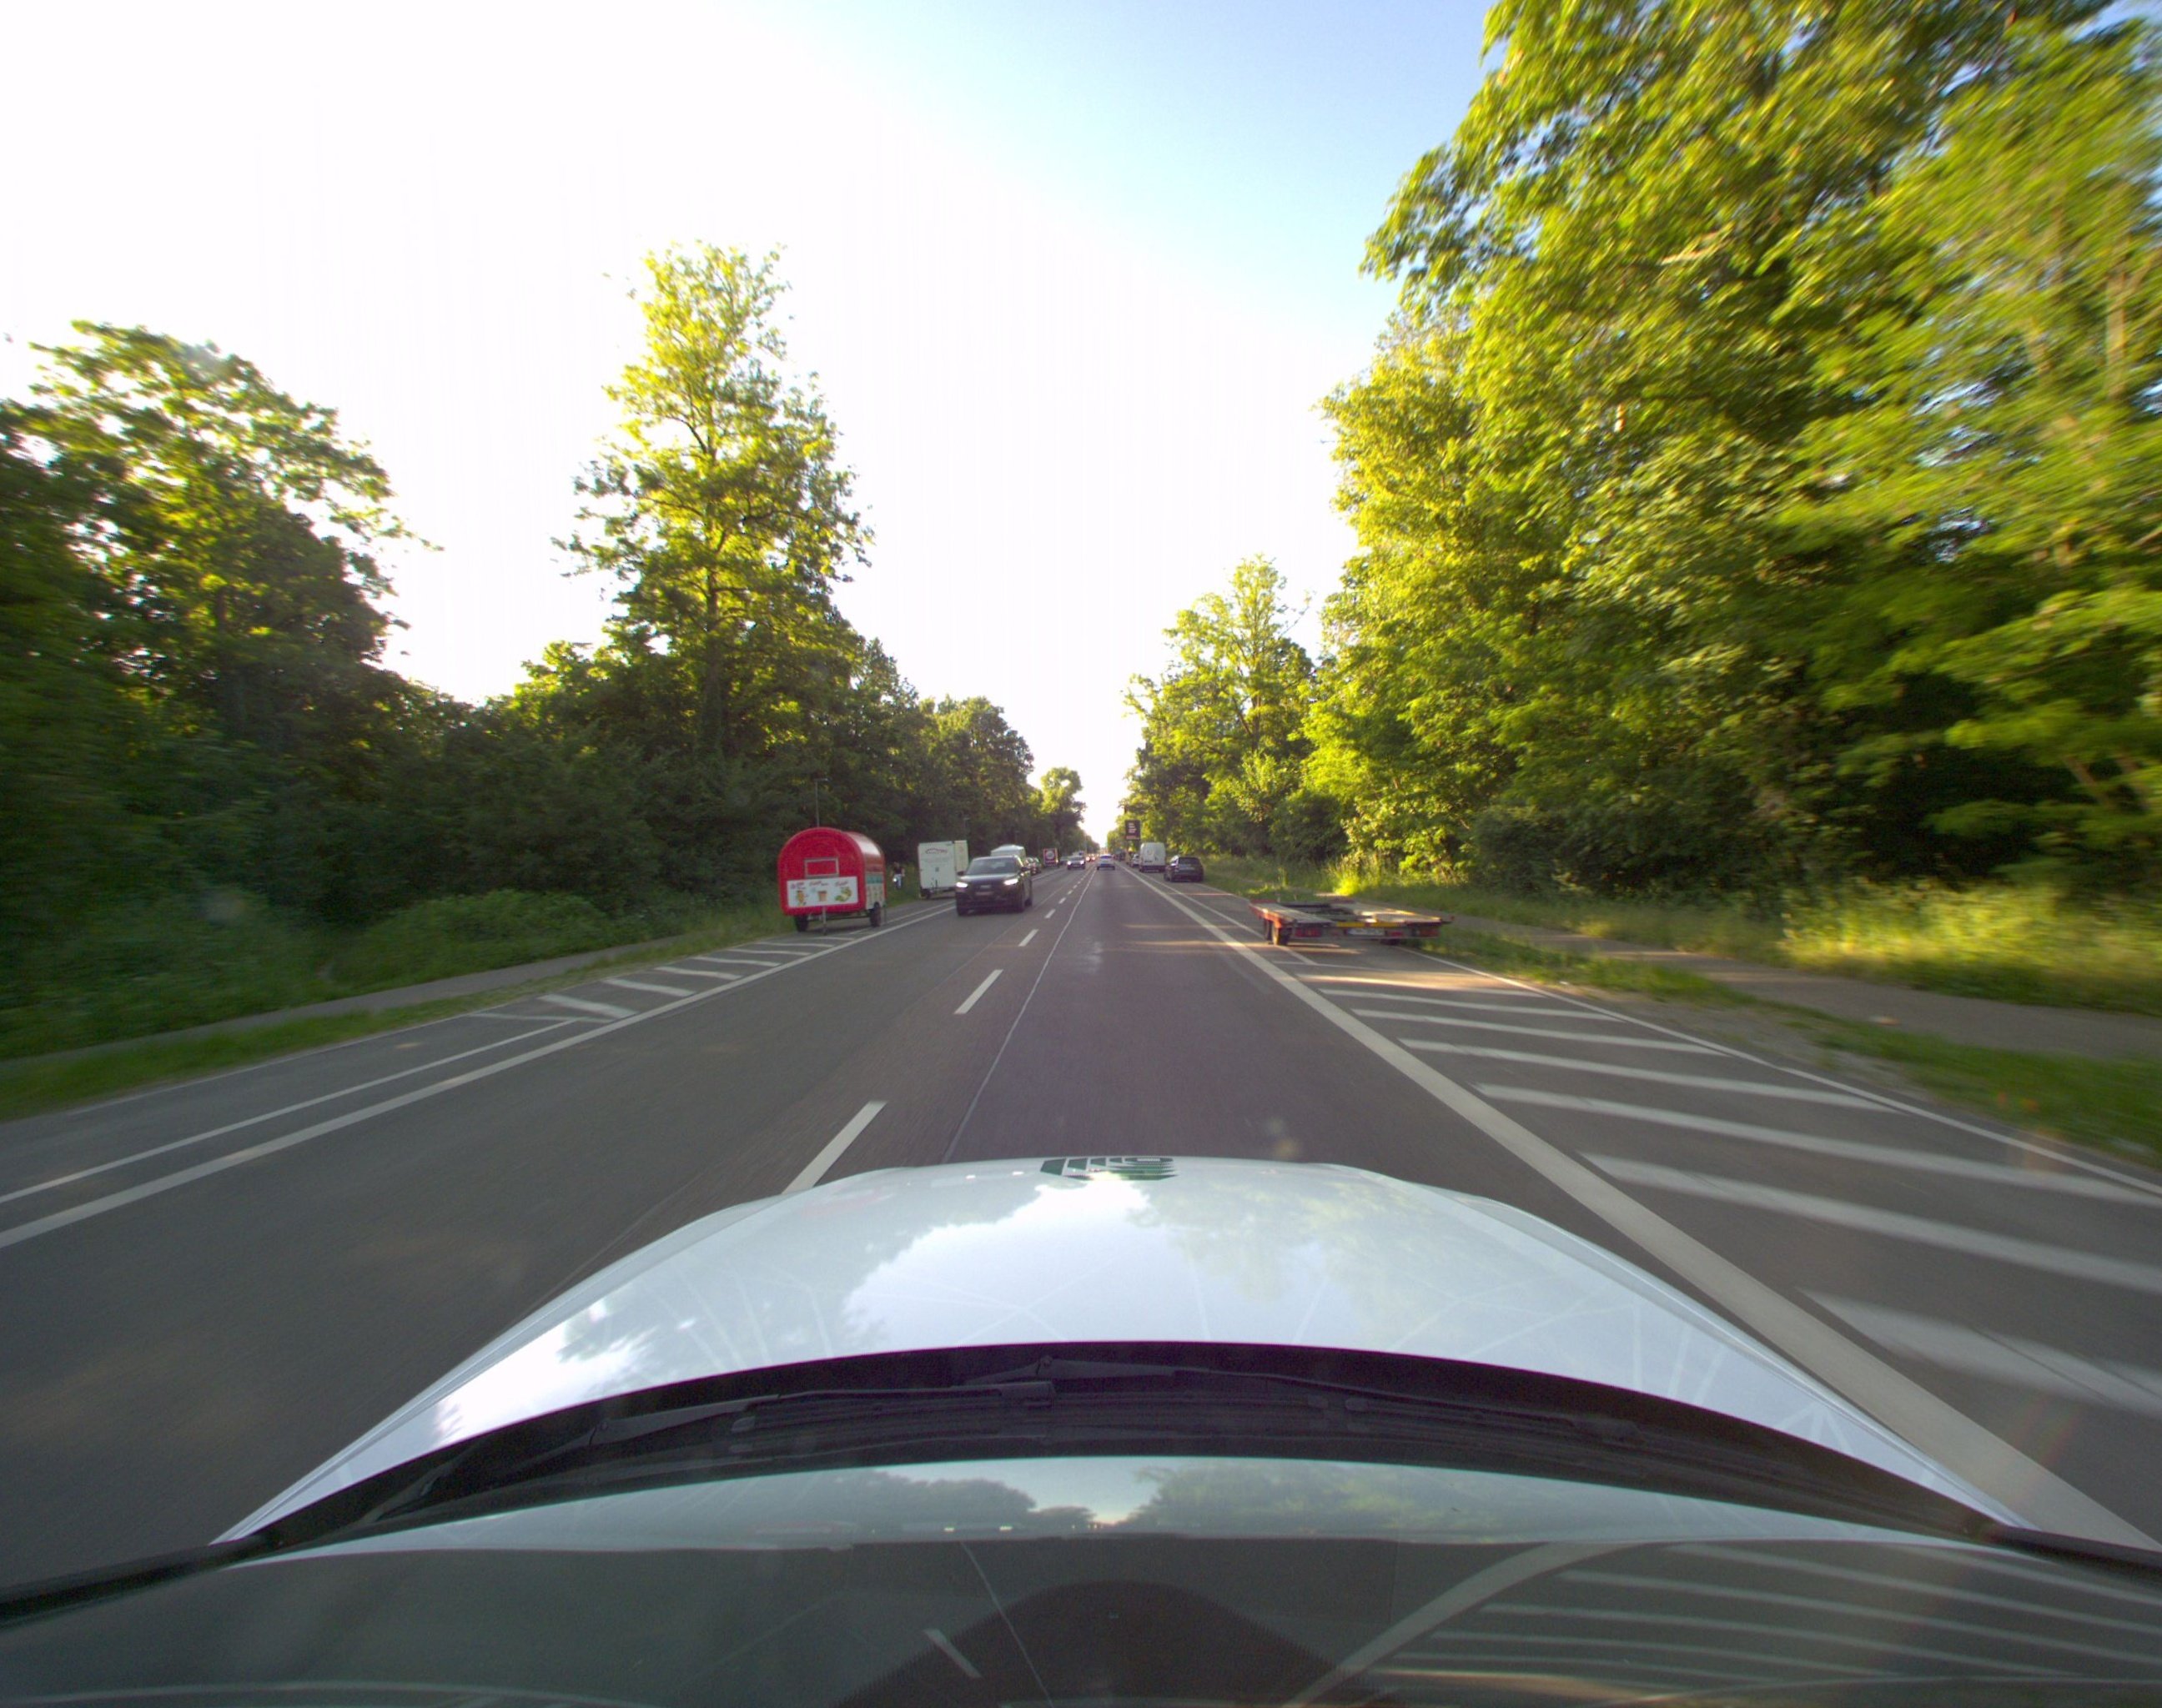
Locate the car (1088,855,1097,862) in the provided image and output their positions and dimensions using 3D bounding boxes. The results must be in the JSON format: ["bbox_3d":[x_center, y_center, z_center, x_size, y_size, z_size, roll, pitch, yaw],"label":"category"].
[{"bbox_3d":[2.451,0.879,173.062,1.598,1.420,3.519,-3,0,1],"label":"car"}]

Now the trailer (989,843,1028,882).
[{"bbox_3d":[-5.088,0.590,57.617,2.340,2.529,4.341,-2,0,-2],"label":"trailer"}]

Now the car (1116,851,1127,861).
[{"bbox_3d":[8.231,0.385,166.611,2.105,2.013,5.042,0,0,2],"label":"car"}]

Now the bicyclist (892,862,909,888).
[{"bbox_3d":[-9.612,1.105,43.368,0.668,1.364,0.905,-1,-1,2],"label":"bicyclist"}]

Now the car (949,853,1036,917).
[{"bbox_3d":[-2.455,0.834,23.652,1.811,1.587,4.461,-3,-1,2],"label":"car"}]

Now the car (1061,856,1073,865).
[{"bbox_3d":[-2.473,1.206,144.681,1.848,1.464,4.786,-2,0,2],"label":"car"}]

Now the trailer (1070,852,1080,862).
[{"bbox_3d":[-1.577,0.745,211.354,2.066,2.293,3.489,-3,0,3],"label":"trailer"}]

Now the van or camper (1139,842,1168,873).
[{"bbox_3d":[6.018,0.281,68.575,2.117,2.482,6.309,-2,0,3],"label":"van or camper"}]

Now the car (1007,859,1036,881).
[{"bbox_3d":[-4.633,1.225,63.777,1.665,1.495,4.196,-5,-1,2],"label":"car"}]

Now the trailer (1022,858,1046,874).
[{"bbox_3d":[-4.434,1.125,77.115,1.834,1.466,4.468,-2,0,1],"label":"trailer"}]

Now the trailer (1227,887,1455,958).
[{"bbox_3d":[4.231,1.094,14.526,2.423,0.798,5.661,-1,0,2],"label":"trailer"}]

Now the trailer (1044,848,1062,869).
[{"bbox_3d":[-3.624,0.577,106.444,1.986,2.621,4.087,-2,0,2],"label":"trailer"}]

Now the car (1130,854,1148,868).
[{"bbox_3d":[6.325,0.726,89.220,1.729,1.488,4.401,0,0,0],"label":"car"}]

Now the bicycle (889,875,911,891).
[{"bbox_3d":[-9.611,1.548,43.300,0.668,0.801,2.100,-1,-1,2],"label":"bicycle"}]

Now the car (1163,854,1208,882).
[{"bbox_3d":[5.716,0.723,45.080,1.829,1.421,4.594,1,0,-1],"label":"car"}]

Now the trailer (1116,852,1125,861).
[{"bbox_3d":[10.258,0.629,210.795,1.600,2.112,2.409,-1,0,22],"label":"trailer"}]

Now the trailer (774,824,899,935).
[{"bbox_3d":[-6.055,0.588,20.603,2.061,2.480,3.558,-2,0,-2],"label":"trailer"}]

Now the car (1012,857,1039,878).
[{"bbox_3d":[-4.699,1.121,69.804,1.665,1.574,5.129,-5,-1,2],"label":"car"}]

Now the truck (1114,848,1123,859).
[{"bbox_3d":[10.981,-0.165,240.900,2.495,3.366,7.111,-1,-1,2],"label":"truck"}]

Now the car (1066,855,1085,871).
[{"bbox_3d":[-0.548,0.971,87.338,1.813,1.532,4.532,-3,-1,2],"label":"car"}]

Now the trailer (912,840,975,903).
[{"bbox_3d":[-5.827,0.701,34.838,2.061,2.480,3.558,-2,0,-2],"label":"trailer"}]

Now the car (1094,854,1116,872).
[{"bbox_3d":[2.380,0.859,80.729,1.986,1.640,4.001,-2,0,2],"label":"car"}]

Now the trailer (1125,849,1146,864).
[{"bbox_3d":[7.827,0.361,117.166,1.945,2.022,3.864,-2,0,21],"label":"trailer"}]
